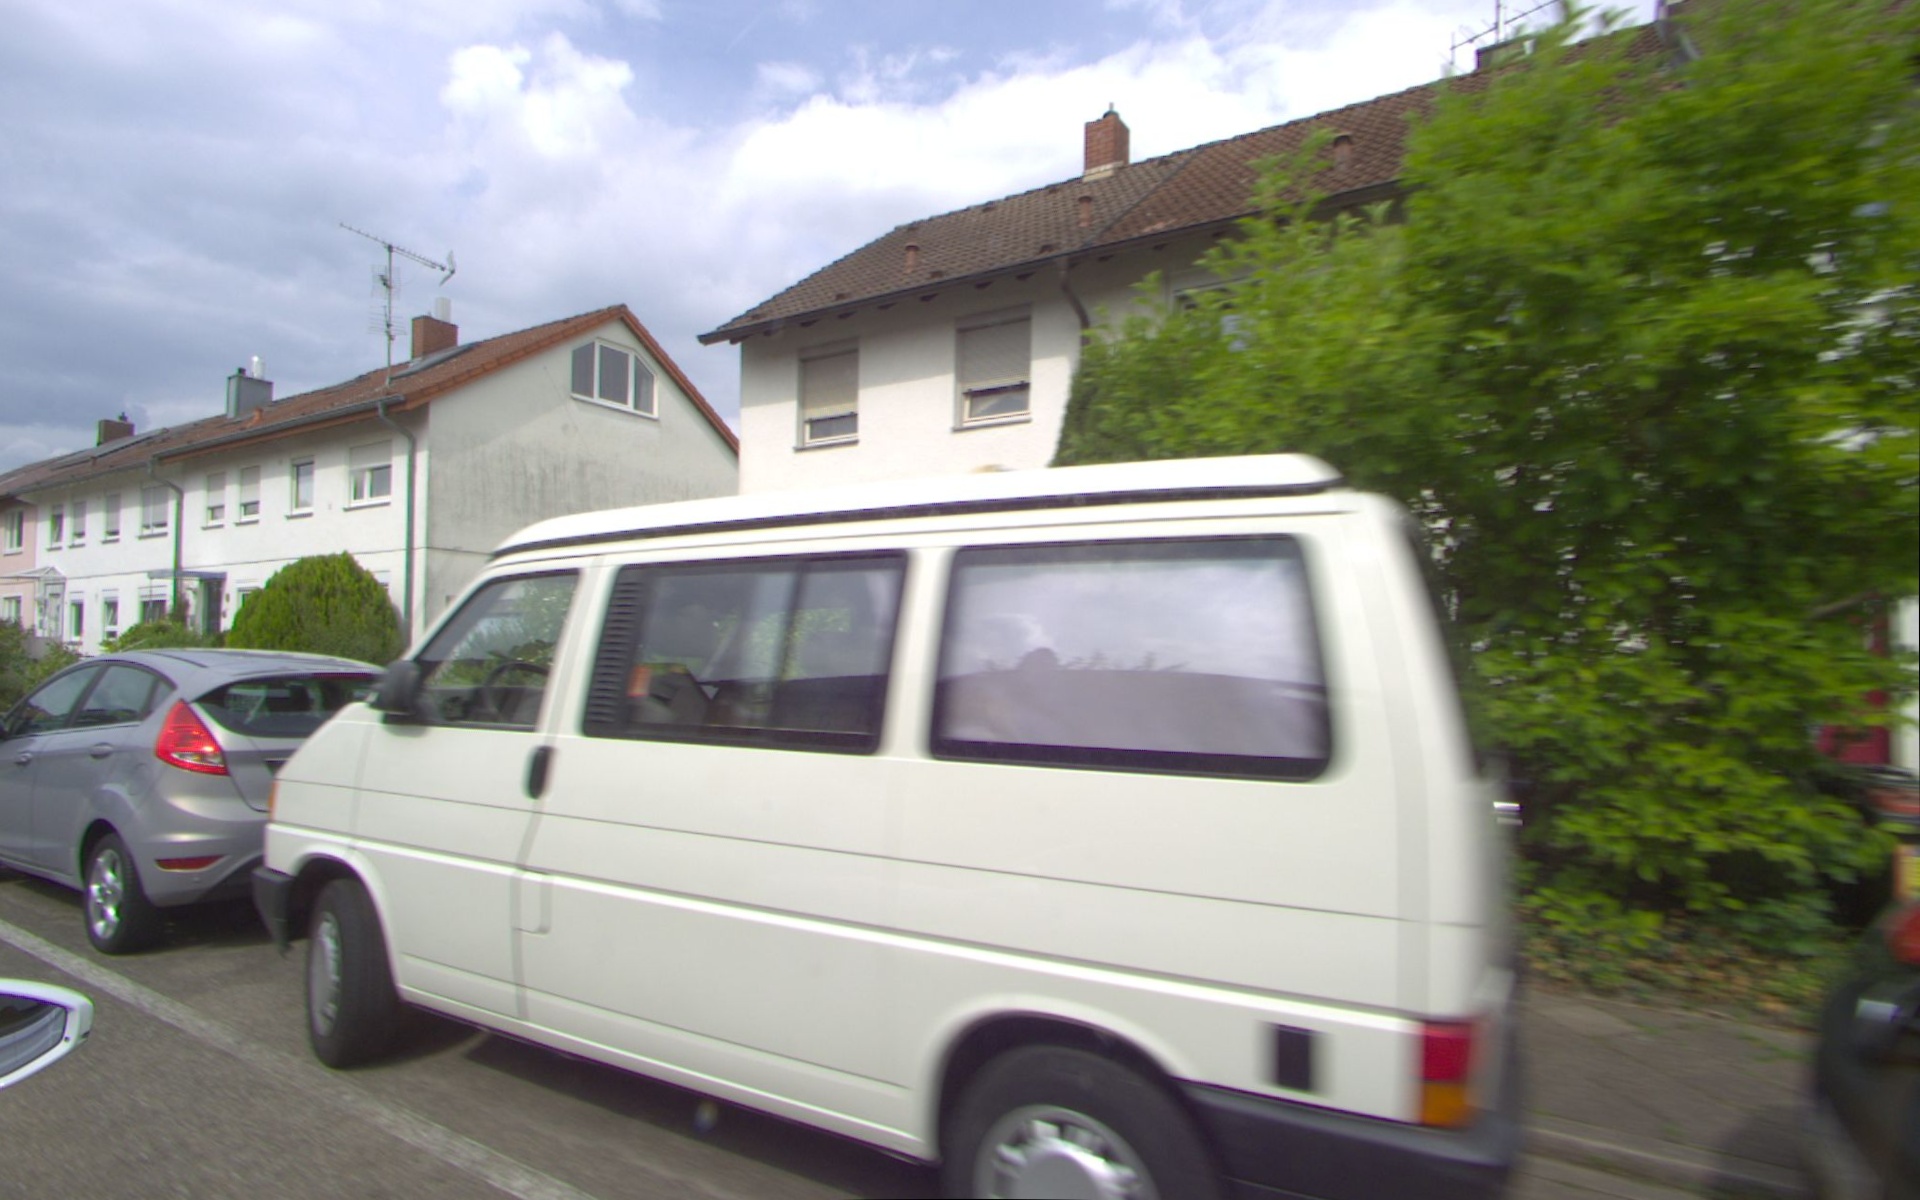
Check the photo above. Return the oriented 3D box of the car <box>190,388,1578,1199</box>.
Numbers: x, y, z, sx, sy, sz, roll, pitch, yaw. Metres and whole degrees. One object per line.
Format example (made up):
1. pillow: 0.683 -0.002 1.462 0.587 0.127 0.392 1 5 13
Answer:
1. car: -0.525 0.706 3.668 4.677 1.972 2.019 -1 -2 31

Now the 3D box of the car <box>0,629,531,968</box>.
1. car: -4.795 0.937 6.327 4.071 1.478 1.897 -1 -2 33

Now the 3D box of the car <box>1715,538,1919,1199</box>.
1. car: 3.584 0.753 0.943 4.343 1.672 1.809 0 -2 29
